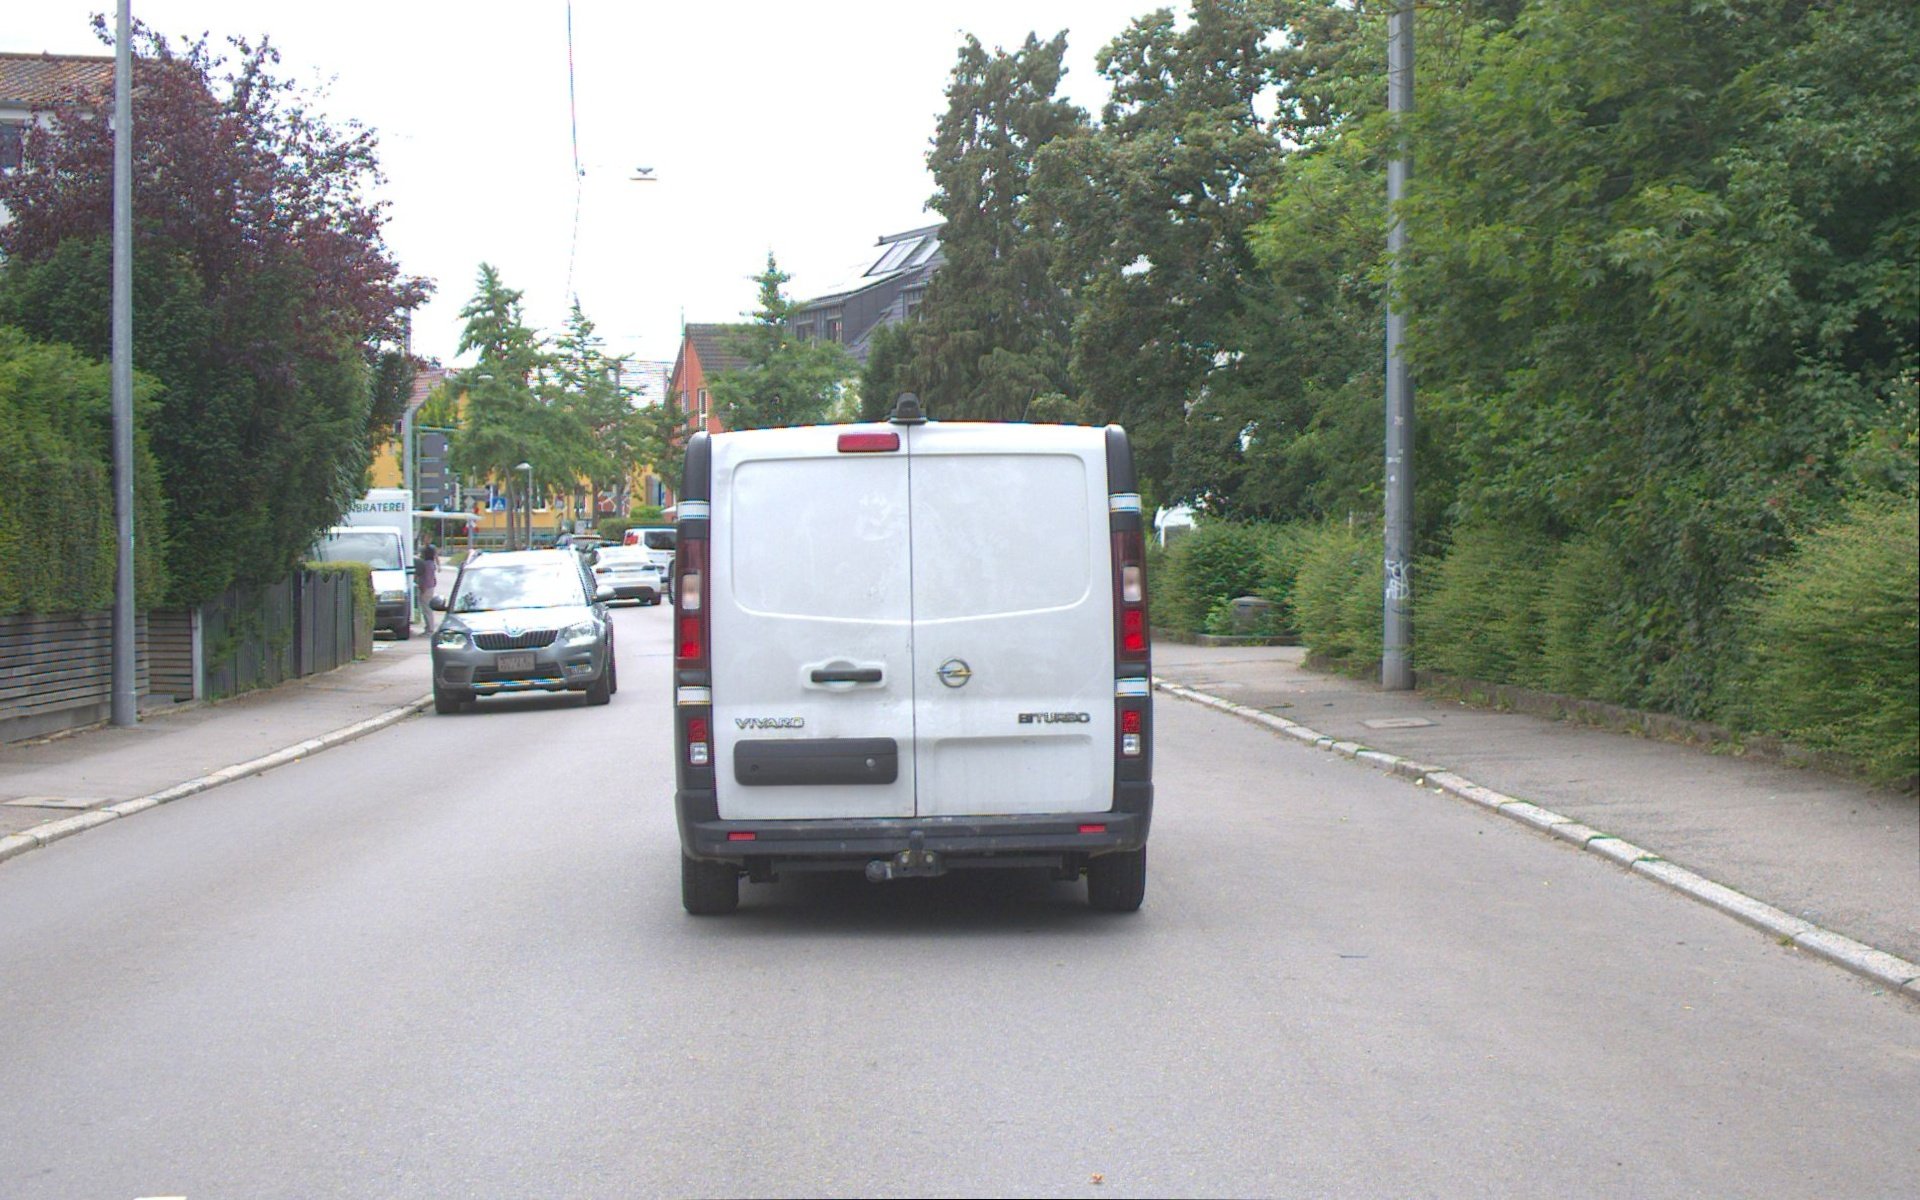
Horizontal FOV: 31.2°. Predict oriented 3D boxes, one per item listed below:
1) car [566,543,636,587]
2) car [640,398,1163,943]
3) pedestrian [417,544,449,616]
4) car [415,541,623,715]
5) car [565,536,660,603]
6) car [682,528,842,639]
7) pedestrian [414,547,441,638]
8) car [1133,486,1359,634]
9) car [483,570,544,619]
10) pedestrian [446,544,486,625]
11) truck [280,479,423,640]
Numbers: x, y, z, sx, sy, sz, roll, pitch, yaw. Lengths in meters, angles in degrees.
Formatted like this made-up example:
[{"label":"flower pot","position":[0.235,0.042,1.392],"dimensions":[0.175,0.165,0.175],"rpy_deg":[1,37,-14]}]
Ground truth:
[{"label":"car","position":[-12.828,-1.260,122.750],"dimensions":[1.741,1.489,3.656],"rpy_deg":[2,0,-17]},{"label":"car","position":[-0.296,0.245,14.928],"dimensions":[1.915,1.996,4.438],"rpy_deg":[-1,0,-2]},{"label":"pedestrian","position":[-14.455,-0.553,94.376],"dimensions":[0.733,1.939,1.218],"rpy_deg":[2,0,-6]},{"label":"car","position":[-4.610,0.274,36.454],"dimensions":[1.840,1.650,4.139],"rpy_deg":[-3,0,-3]},{"label":"car","position":[-9.582,-0.854,94.656],"dimensions":[1.993,1.776,4.001],"rpy_deg":[-1,1,-14]},{"label":"car","position":[-3.466,-0.303,59.451],"dimensions":[1.993,1.842,4.001],"rpy_deg":[-1,1,-14]},{"label":"pedestrian","position":[-10.042,-0.148,64.840],"dimensions":[0.401,1.689,0.597],"rpy_deg":[2,0,-12]},{"label":"car","position":[5.518,-0.779,67.112],"dimensions":[2.496,2.673,5.188],"rpy_deg":[2,0,-18]},{"label":"car","position":[-13.378,-0.161,103.078],"dimensions":[1.693,1.427,3.928],"rpy_deg":[-1,0,-6]},{"label":"pedestrian","position":[-10.418,-0.323,72.547],"dimensions":[0.722,1.681,1.109],"rpy_deg":[2,0,-6]},{"label":"truck","position":[-11.456,-0.744,64.390],"dimensions":[2.472,2.831,6.709],"rpy_deg":[0,0,-11]}]
